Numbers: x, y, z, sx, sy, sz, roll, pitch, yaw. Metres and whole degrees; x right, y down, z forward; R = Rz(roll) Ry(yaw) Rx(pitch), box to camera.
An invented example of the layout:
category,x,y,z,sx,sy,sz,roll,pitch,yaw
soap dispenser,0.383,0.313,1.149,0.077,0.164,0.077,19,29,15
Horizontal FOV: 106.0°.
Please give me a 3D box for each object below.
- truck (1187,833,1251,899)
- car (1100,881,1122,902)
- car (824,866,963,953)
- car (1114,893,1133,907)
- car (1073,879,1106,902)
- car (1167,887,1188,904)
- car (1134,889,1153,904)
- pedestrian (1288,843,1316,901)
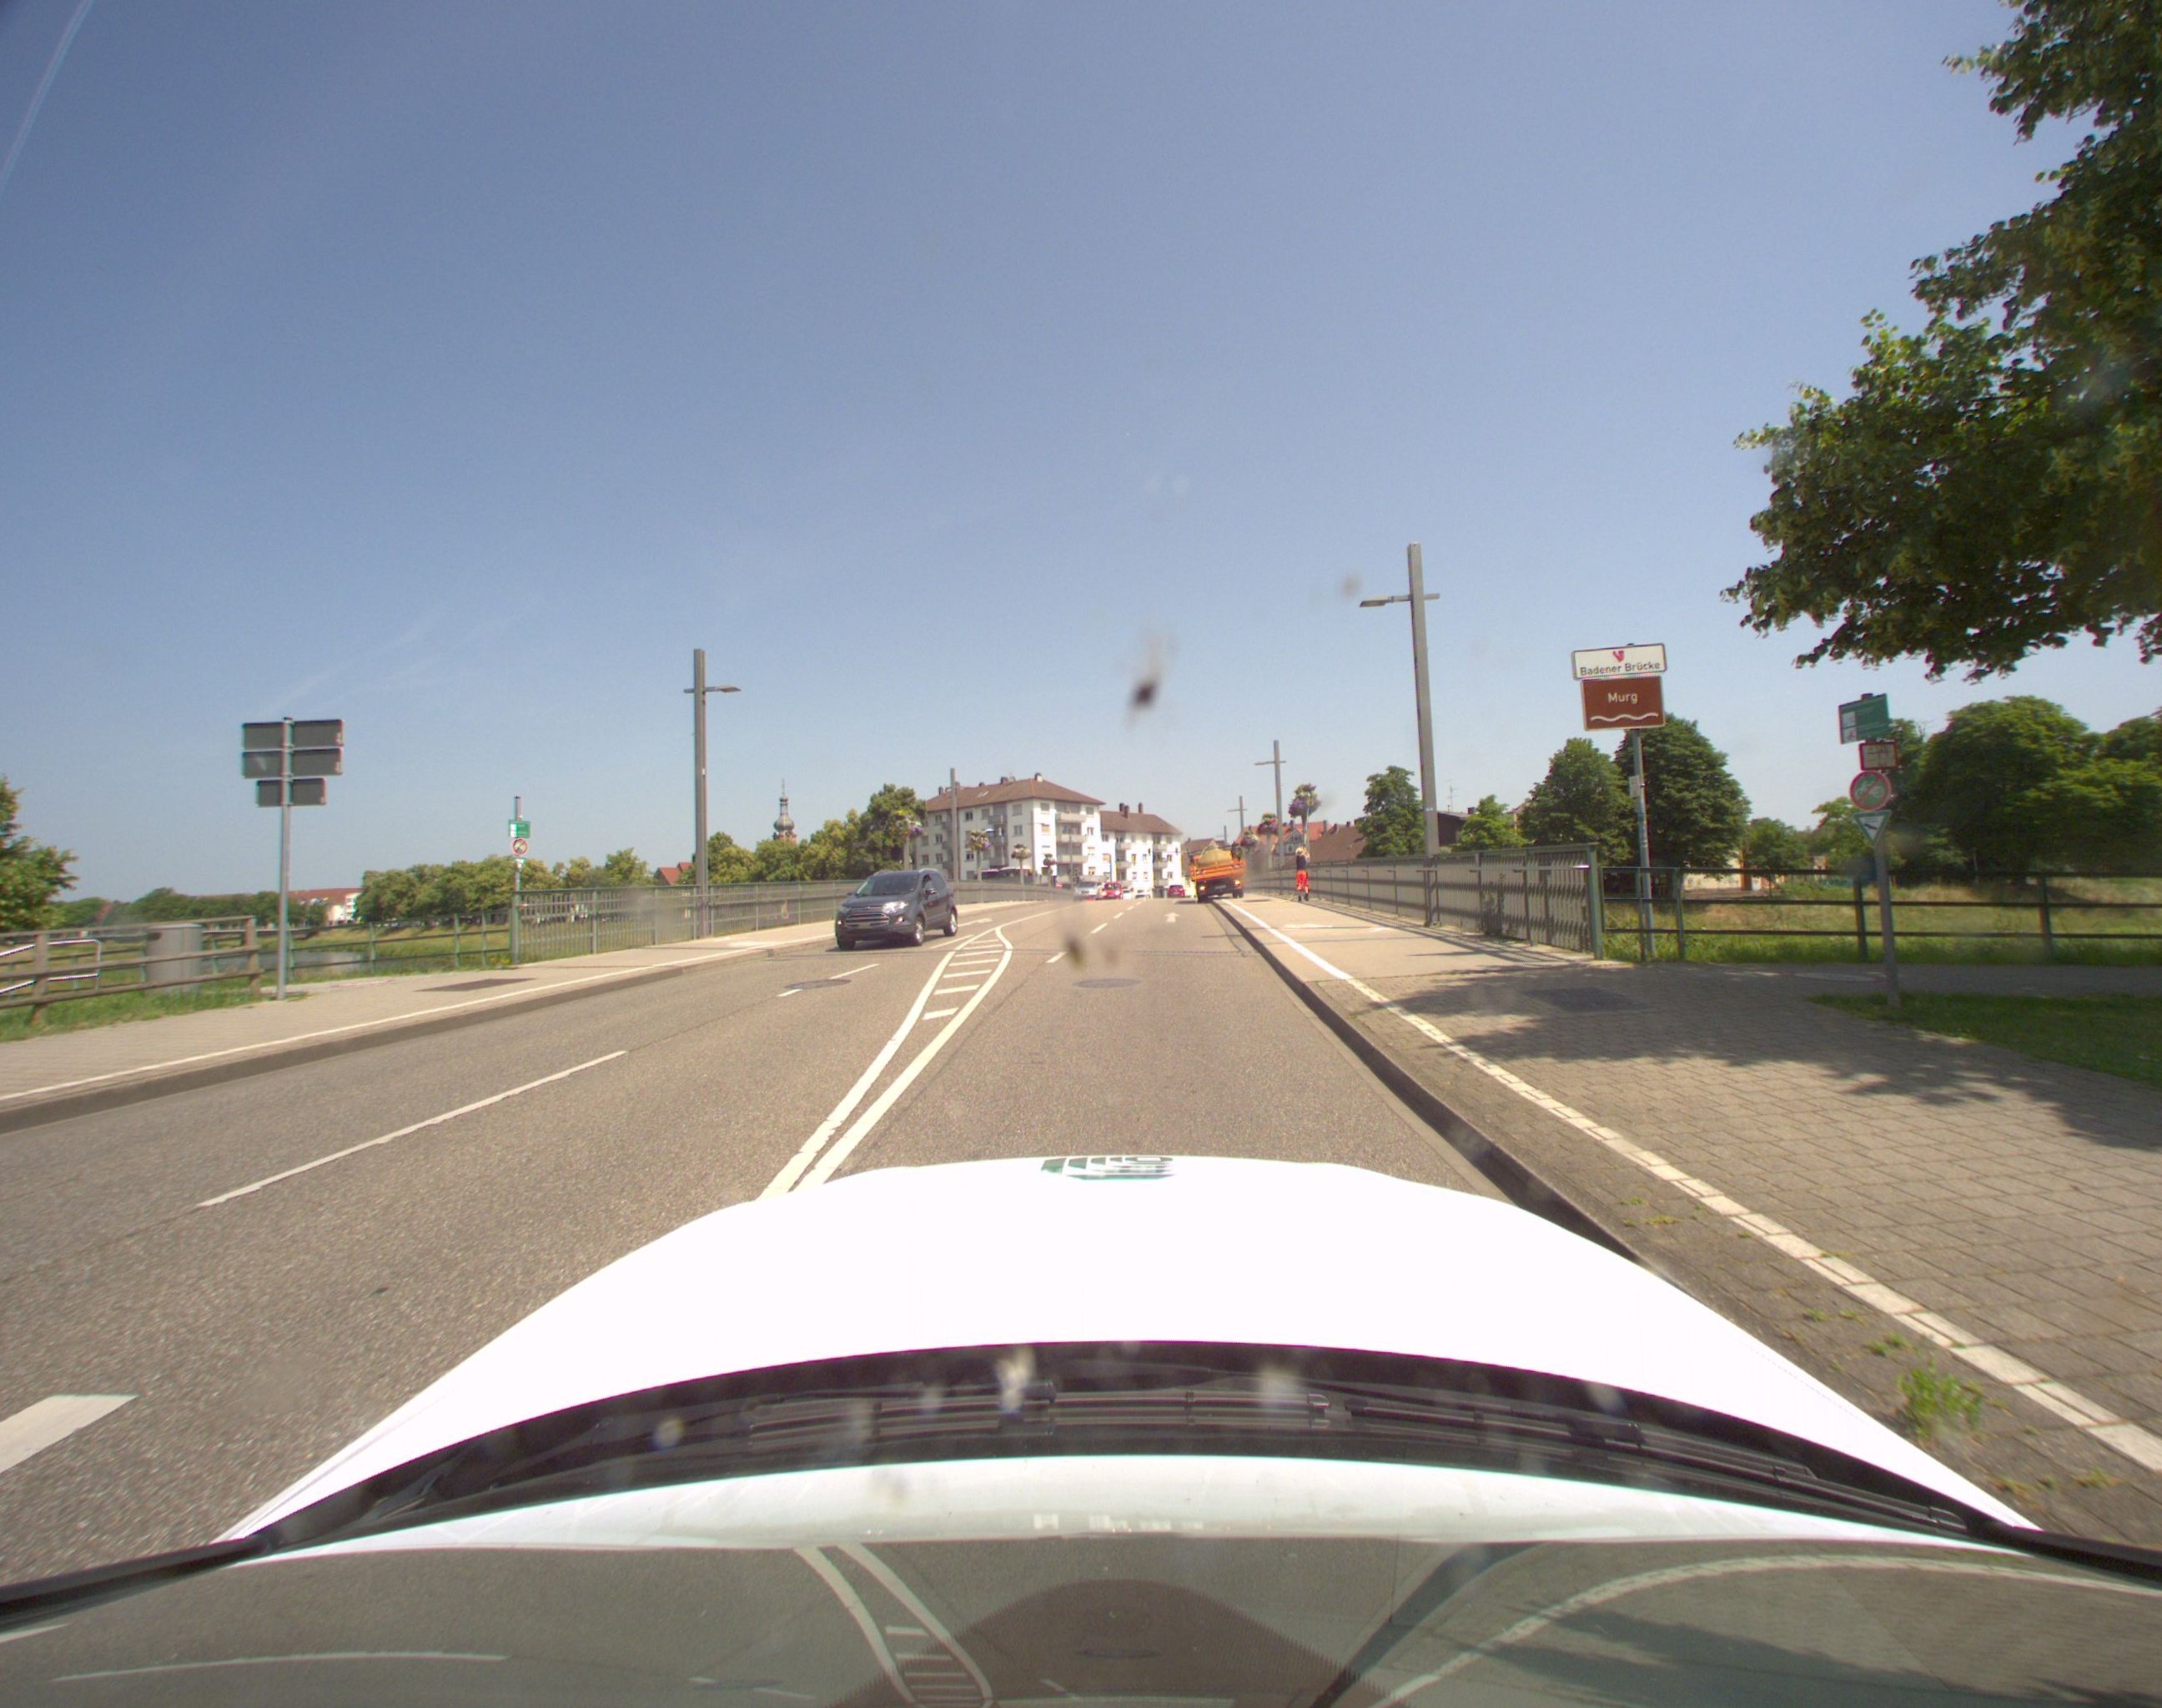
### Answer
category,x,y,z,sx,sy,sz,roll,pitch,yaw
truck,6.259,0.616,37.601,2.592,2.691,5.834,-2,-2,7
car,2.661,3.307,71.821,1.728,1.777,4.179,-2,-3,4
car,-4.034,1.143,18.228,1.728,1.641,3.928,-4,-1,6
car,4.575,4.910,87.506,1.835,1.432,4.719,-1,-4,5
car,0.627,2.485,56.559,1.689,1.358,4.464,-4,-2,7
car,9.778,4.237,83.013,1.980,1.613,4.348,-3,-3,5
car,8.254,5.551,107.007,1.747,1.857,4.663,0,-2,13
pedestrian,7.540,0.616,27.749,0.675,1.960,0.542,1,-4,-35
